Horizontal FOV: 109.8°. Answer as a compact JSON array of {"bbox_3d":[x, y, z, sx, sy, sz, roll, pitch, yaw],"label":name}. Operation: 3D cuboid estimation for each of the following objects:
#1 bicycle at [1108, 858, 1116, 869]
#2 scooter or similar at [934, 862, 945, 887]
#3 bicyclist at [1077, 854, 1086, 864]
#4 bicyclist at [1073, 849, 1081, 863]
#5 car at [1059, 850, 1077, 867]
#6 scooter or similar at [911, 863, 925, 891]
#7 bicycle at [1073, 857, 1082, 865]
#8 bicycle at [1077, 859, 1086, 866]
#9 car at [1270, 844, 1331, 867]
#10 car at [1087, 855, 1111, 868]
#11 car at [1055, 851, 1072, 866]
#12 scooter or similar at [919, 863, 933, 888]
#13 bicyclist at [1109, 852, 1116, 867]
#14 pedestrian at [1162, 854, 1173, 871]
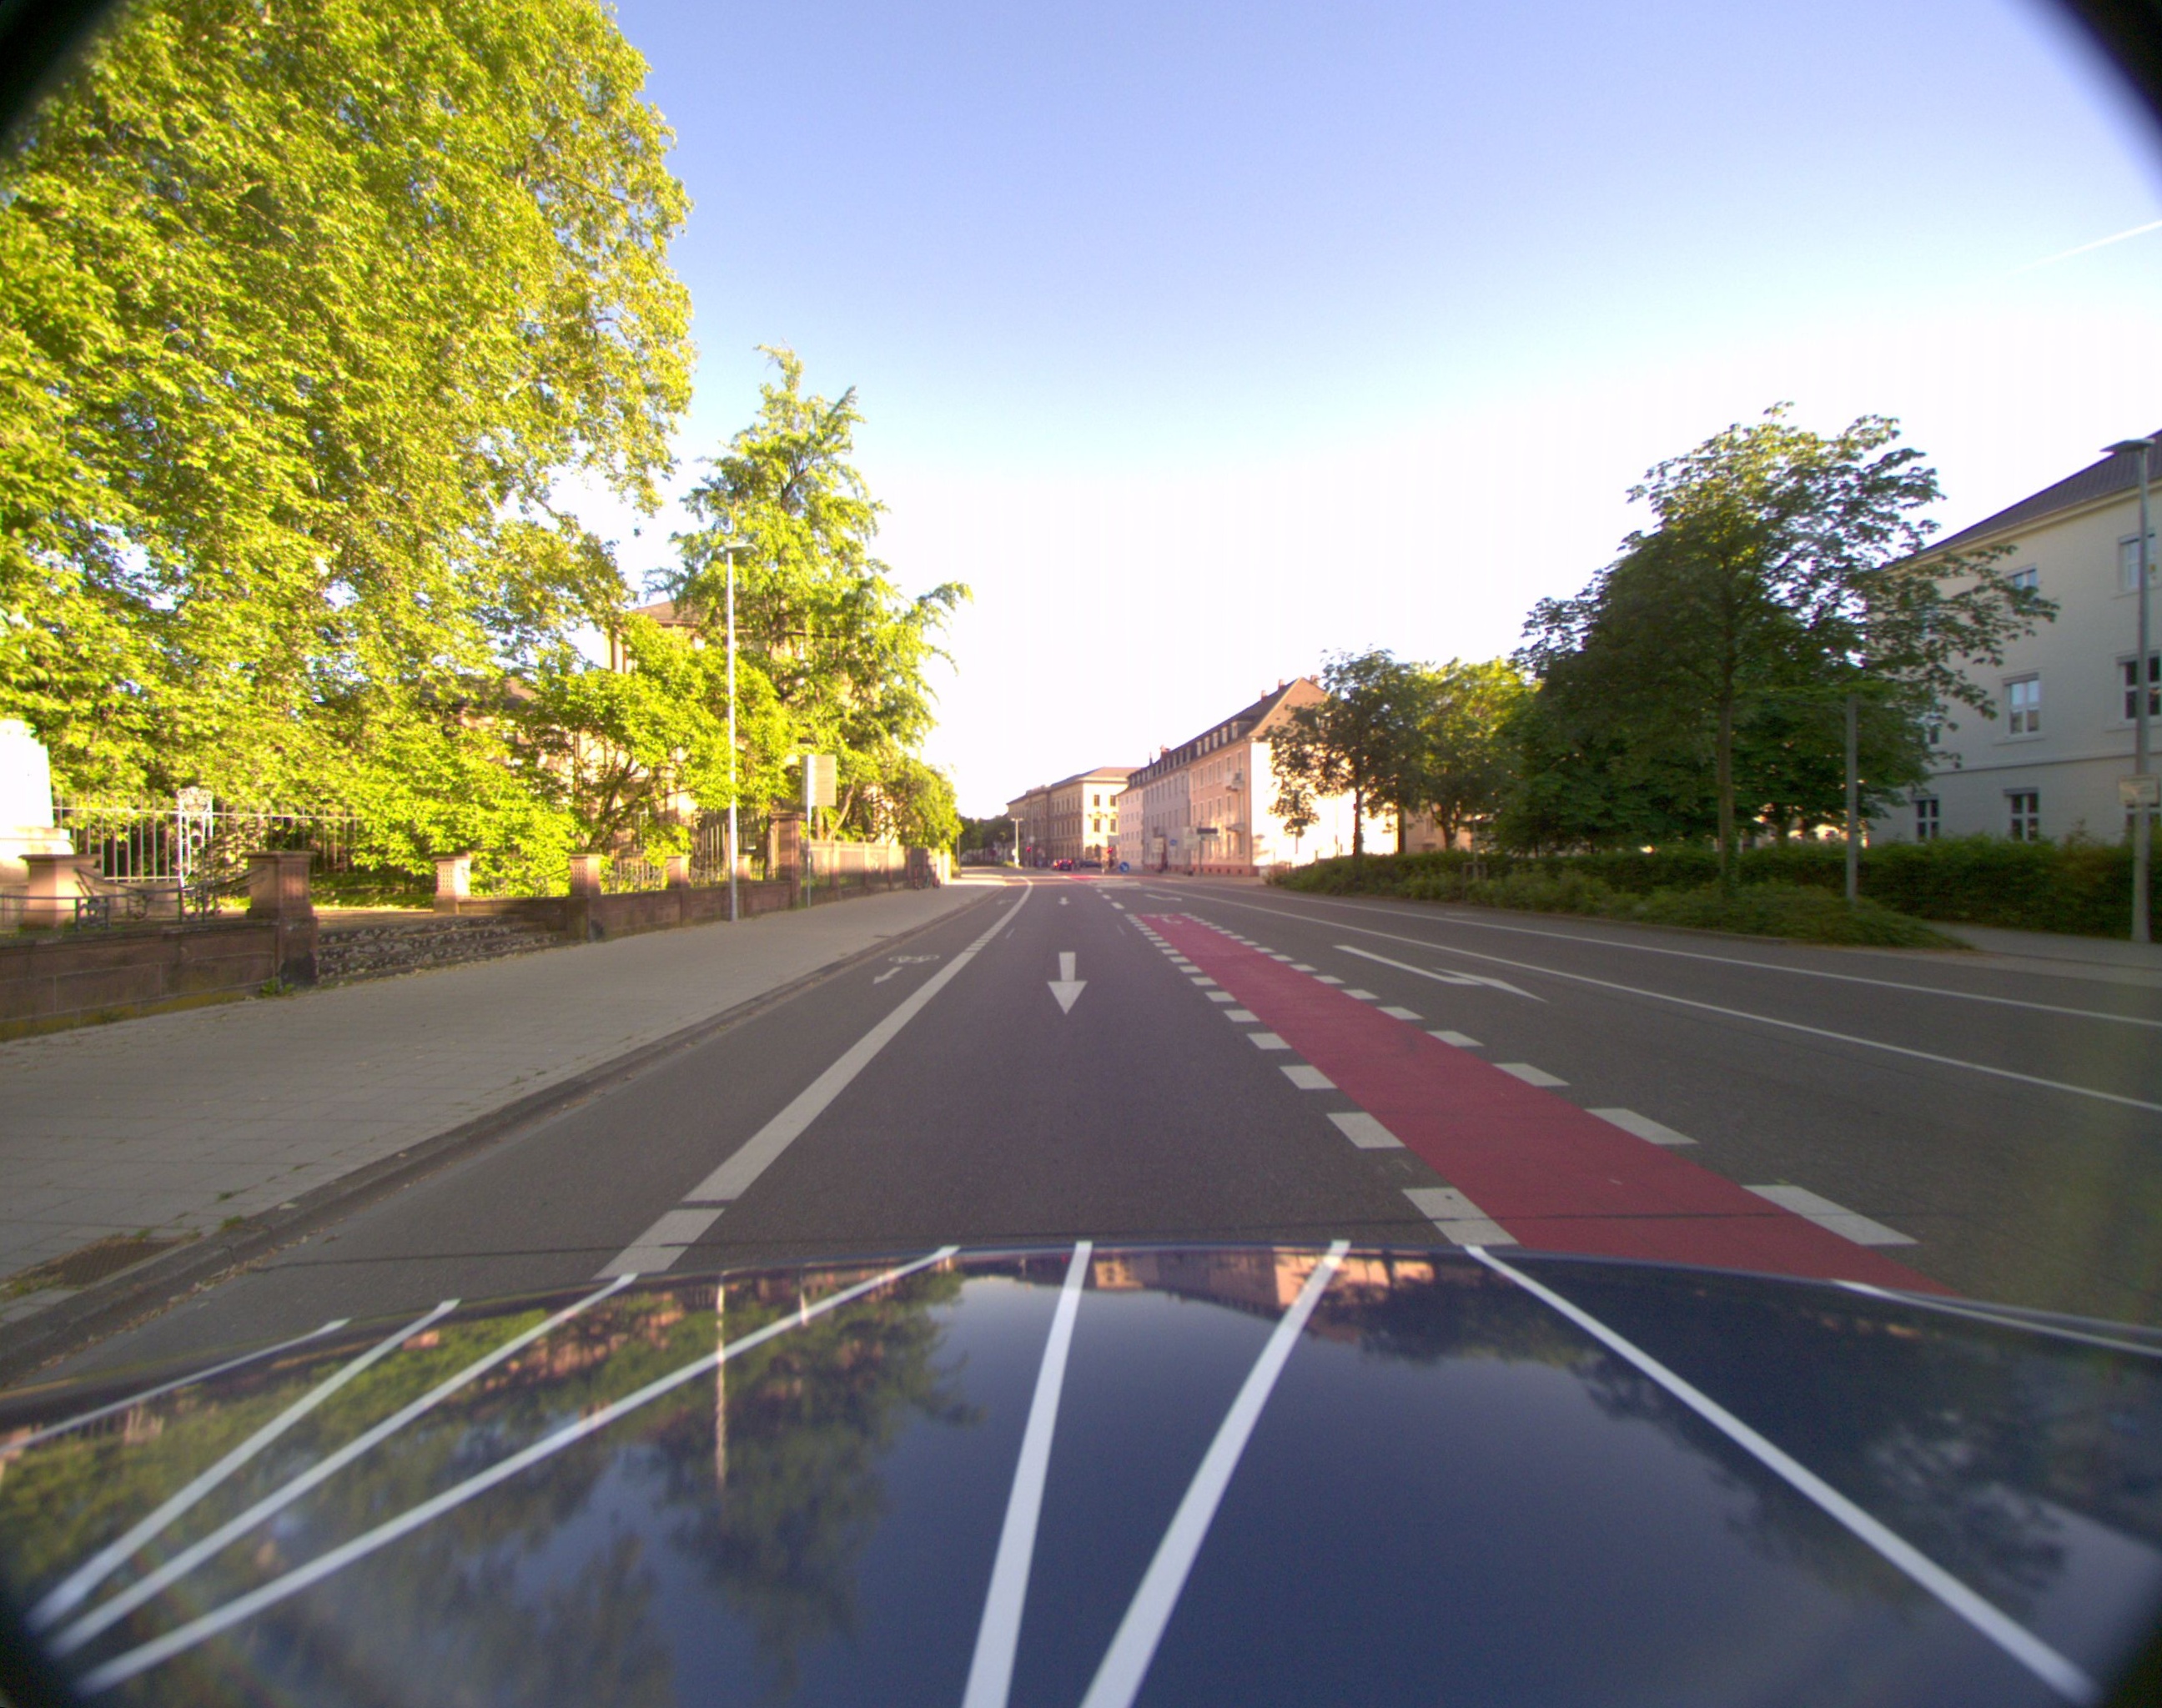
[{"bbox_3d":[3.470,1.055,84.506,0.697,1.152,2.245,1,0,-3],"label":"bicycle"},{"bbox_3d":[-7.098,1.031,38.168,0.517,1.233,1.521,0,0,-11],"label":"scooter or similar"},{"bbox_3d":[0.067,0.681,104.545,1.026,1.481,0.870,0,0,-9],"label":"bicyclist"},{"bbox_3d":[-0.507,0.302,109.260,0.956,2.002,1.307,0,0,-9],"label":"bicyclist"},{"bbox_3d":[-1.647,0.566,96.716,1.999,2.002,3.998,0,0,-6],"label":"car"},{"bbox_3d":[-7.556,1.033,35.234,0.577,1.246,1.486,0,0,-15],"label":"scooter or similar"},{"bbox_3d":[-0.529,0.986,109.393,0.956,1.216,2.776,0,0,-9],"label":"bicycle"},{"bbox_3d":[0.068,1.139,104.519,0.663,0.907,2.861,0,0,-9],"label":"bicycle"},{"bbox_3d":[16.753,0.095,58.116,4.000,1.652,1.998,-2,1,-9],"label":"car"},{"bbox_3d":[2.988,1.306,129.326,3.997,2.002,1.999,-2,1,-1],"label":"car"},{"bbox_3d":[-2.423,0.619,102.596,1.999,2.002,3.998,0,0,-5],"label":"car"},{"bbox_3d":[-7.571,1.043,37.086,0.576,1.177,1.487,0,0,-7],"label":"scooter or similar"},{"bbox_3d":[3.486,0.601,84.336,0.691,1.553,0.838,1,0,-3],"label":"bicyclist"},{"bbox_3d":[9.845,1.003,86.821,0.949,1.894,1.062,-2,1,-7],"label":"pedestrian"}]
